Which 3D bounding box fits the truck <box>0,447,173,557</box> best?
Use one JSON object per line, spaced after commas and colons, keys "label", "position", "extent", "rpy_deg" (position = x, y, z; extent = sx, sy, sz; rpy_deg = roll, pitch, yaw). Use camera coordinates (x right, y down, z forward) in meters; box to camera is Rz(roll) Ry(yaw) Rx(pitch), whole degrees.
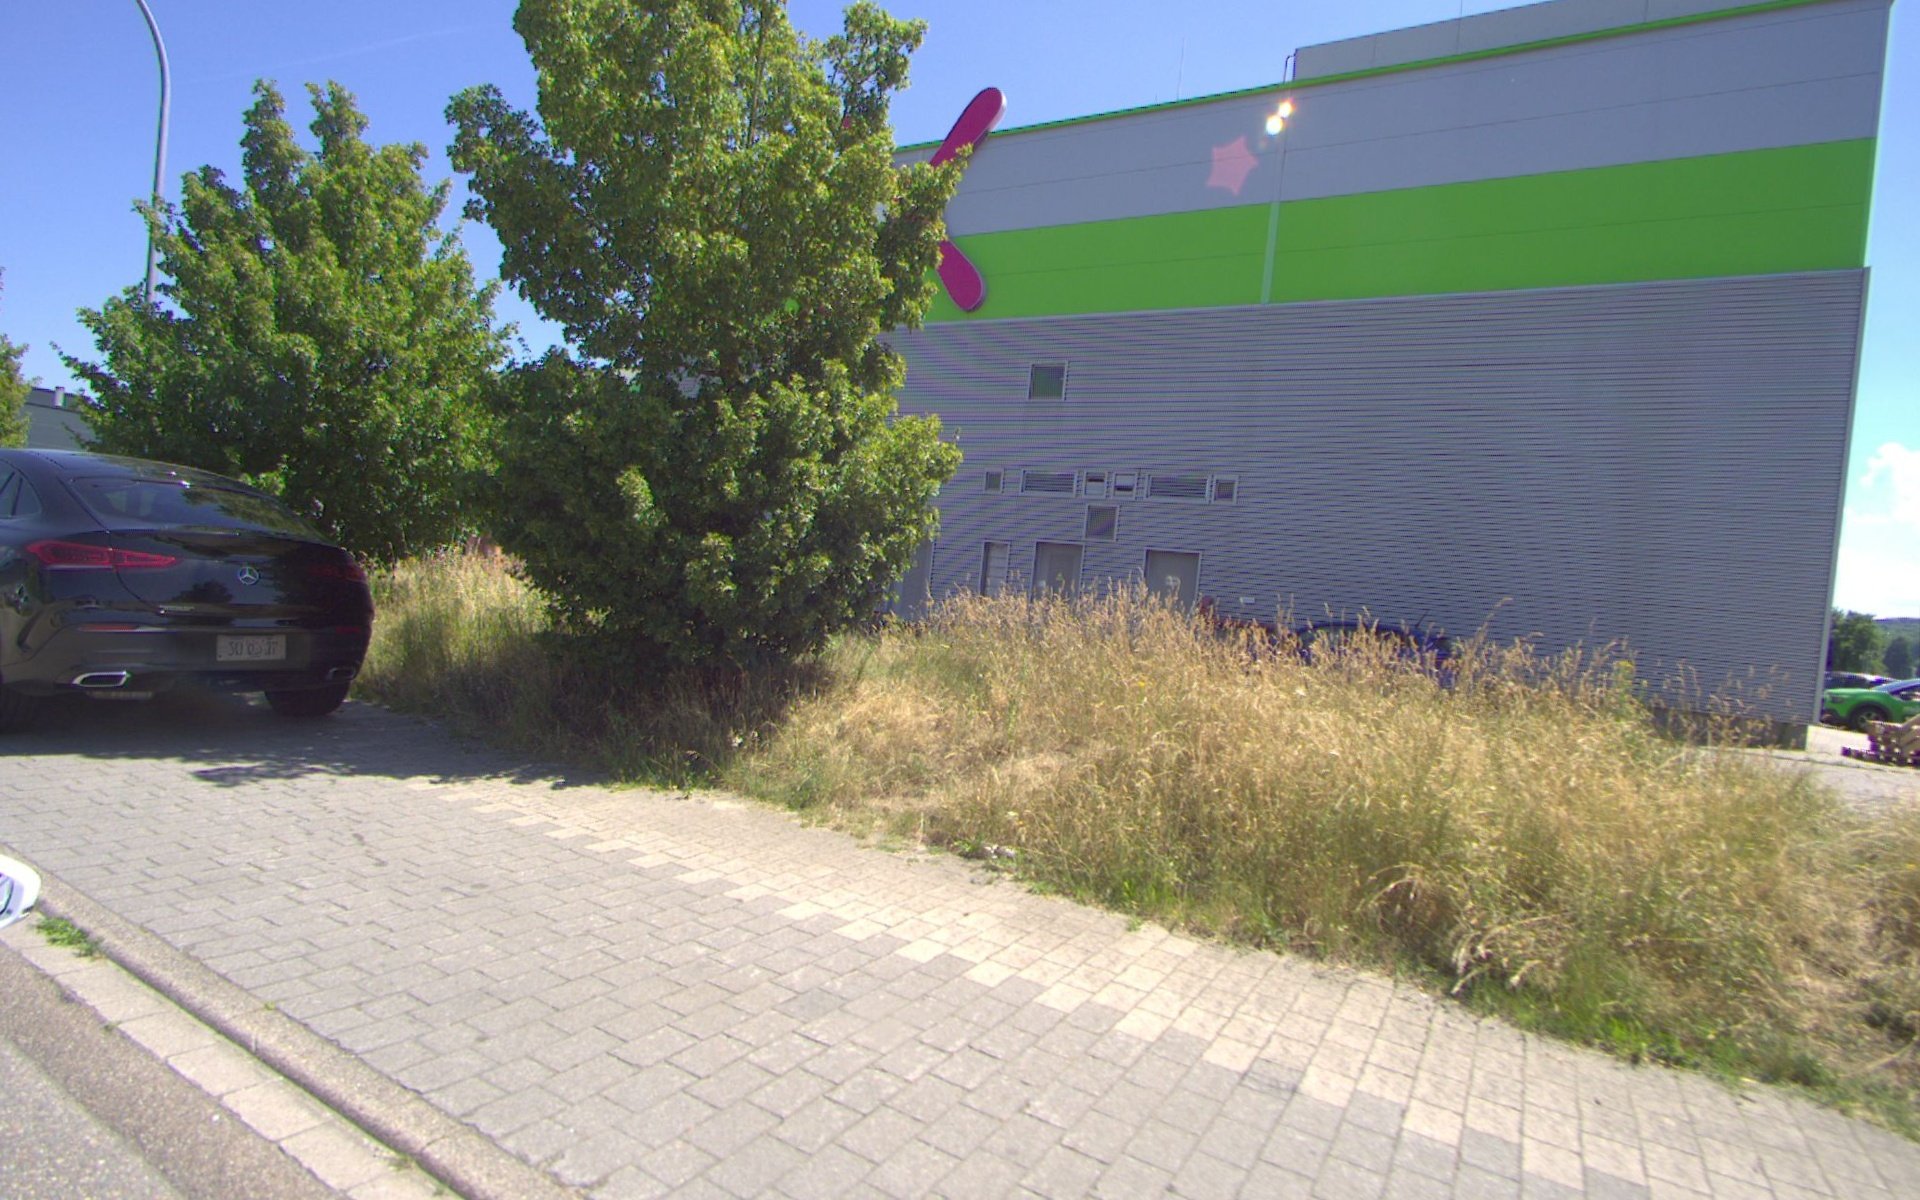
{"label": "truck", "position": [-29.039, -3.136, 31.870], "extent": [2.266, 2.908, 5.912], "rpy_deg": [6, 0, 28]}

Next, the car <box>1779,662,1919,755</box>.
{"label": "car", "position": [22.824, 2.728, 24.243], "extent": [4.326, 1.810, 1.995], "rpy_deg": [8, 2, 31]}

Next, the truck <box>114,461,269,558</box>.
{"label": "truck", "position": [-37.026, -4.319, 48.611], "extent": [2.758, 3.923, 5.068], "rpy_deg": [5, 0, 31]}

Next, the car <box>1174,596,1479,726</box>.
{"label": "car", "position": [6.002, 0.929, 16.579], "extent": [4.327, 1.518, 1.995], "rpy_deg": [6, 1, 31]}

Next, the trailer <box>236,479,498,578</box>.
{"label": "trailer", "position": [-32.525, -3.774, 56.198], "extent": [2.758, 3.923, 12.633], "rpy_deg": [5, -1, 31]}

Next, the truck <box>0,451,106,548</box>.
{"label": "truck", "position": [-32.774, -3.551, 33.656], "extent": [2.374, 2.950, 5.828], "rpy_deg": [6, 0, 30]}

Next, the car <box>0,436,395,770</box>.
{"label": "car", "position": [-6.285, -0.158, 7.164], "extent": [4.469, 1.723, 1.949], "rpy_deg": [6, 2, 31]}
